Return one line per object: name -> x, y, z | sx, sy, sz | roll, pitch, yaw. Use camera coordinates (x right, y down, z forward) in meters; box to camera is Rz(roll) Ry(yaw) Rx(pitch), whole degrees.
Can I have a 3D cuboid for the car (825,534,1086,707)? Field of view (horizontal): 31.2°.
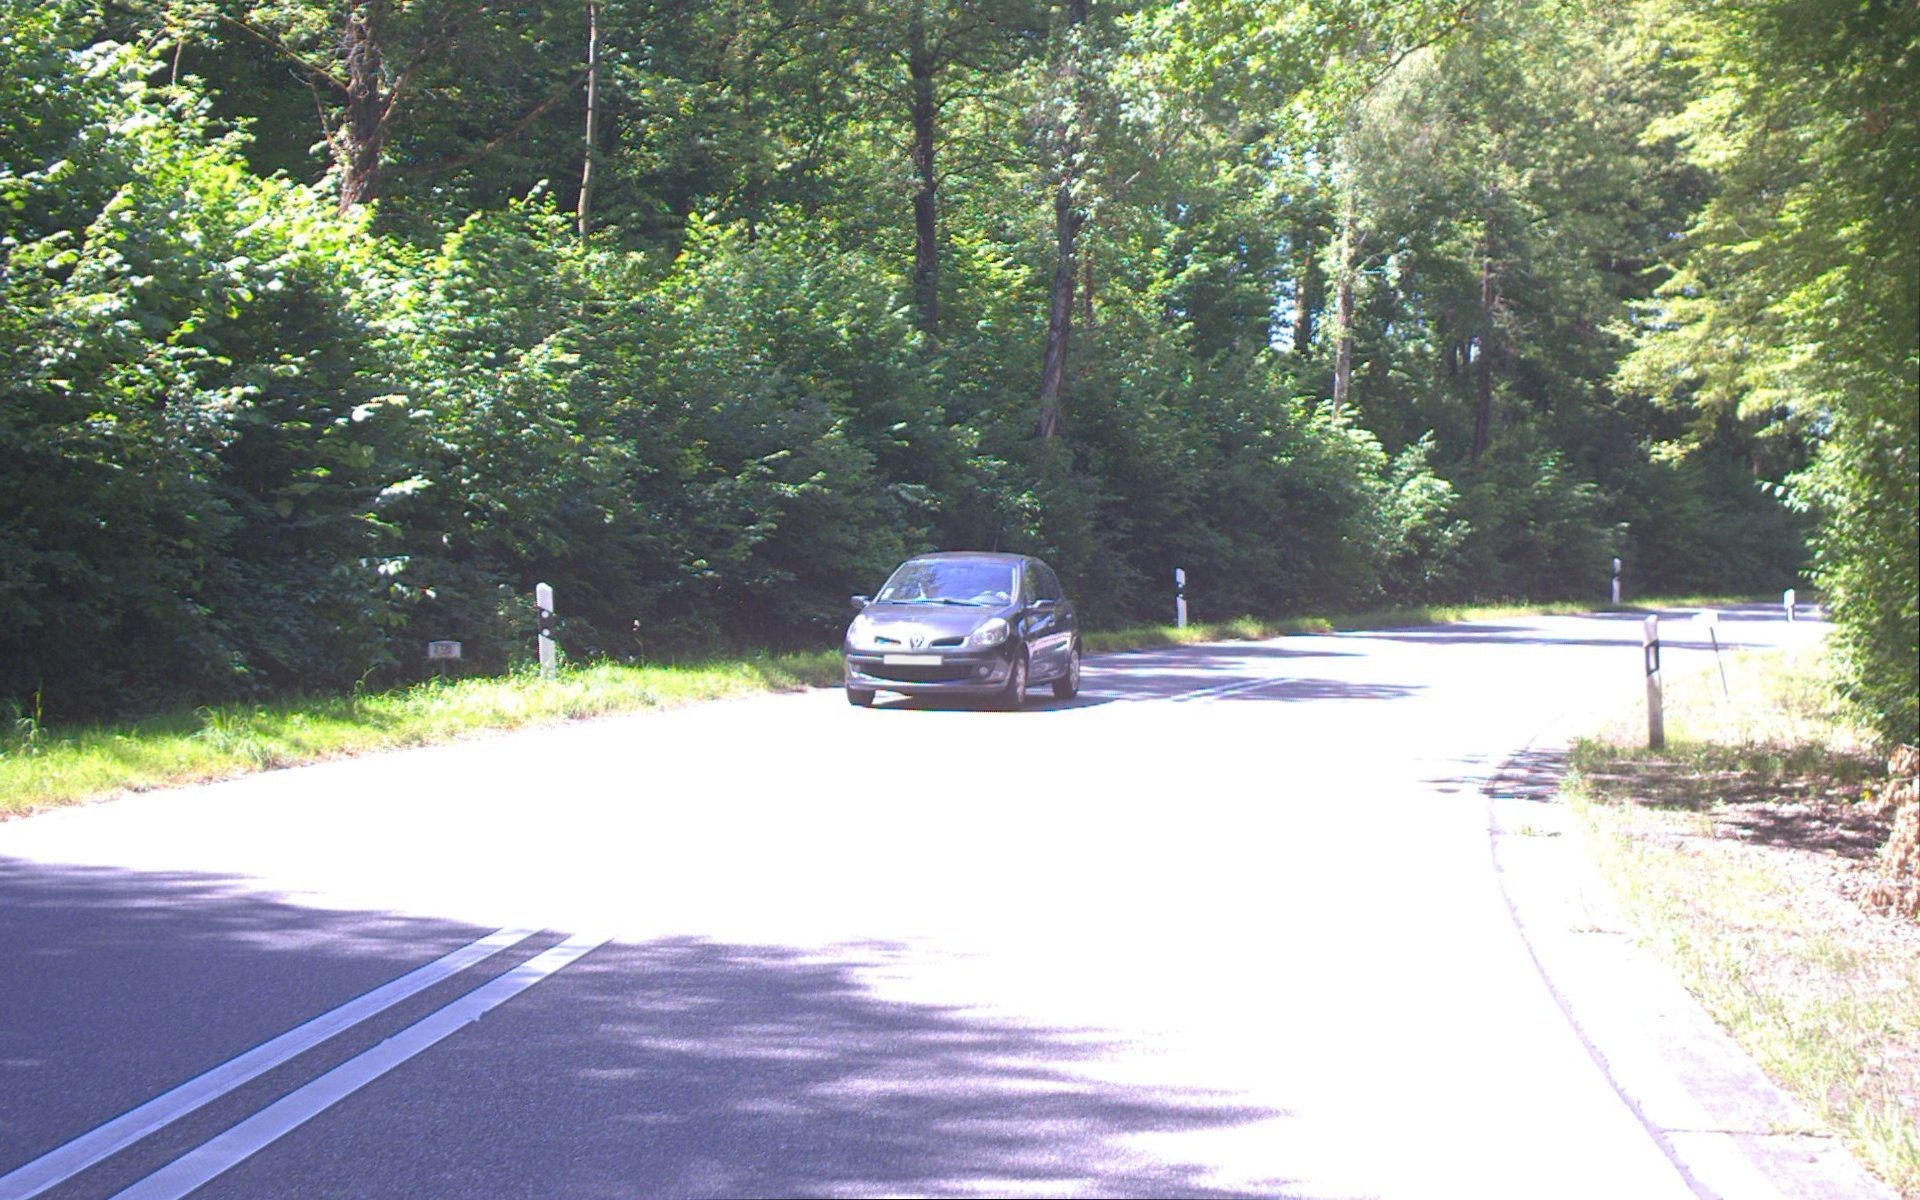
car -> 0.020, 0.179, 33.481 | 1.678, 1.568, 3.892 | -1, 0, 13
